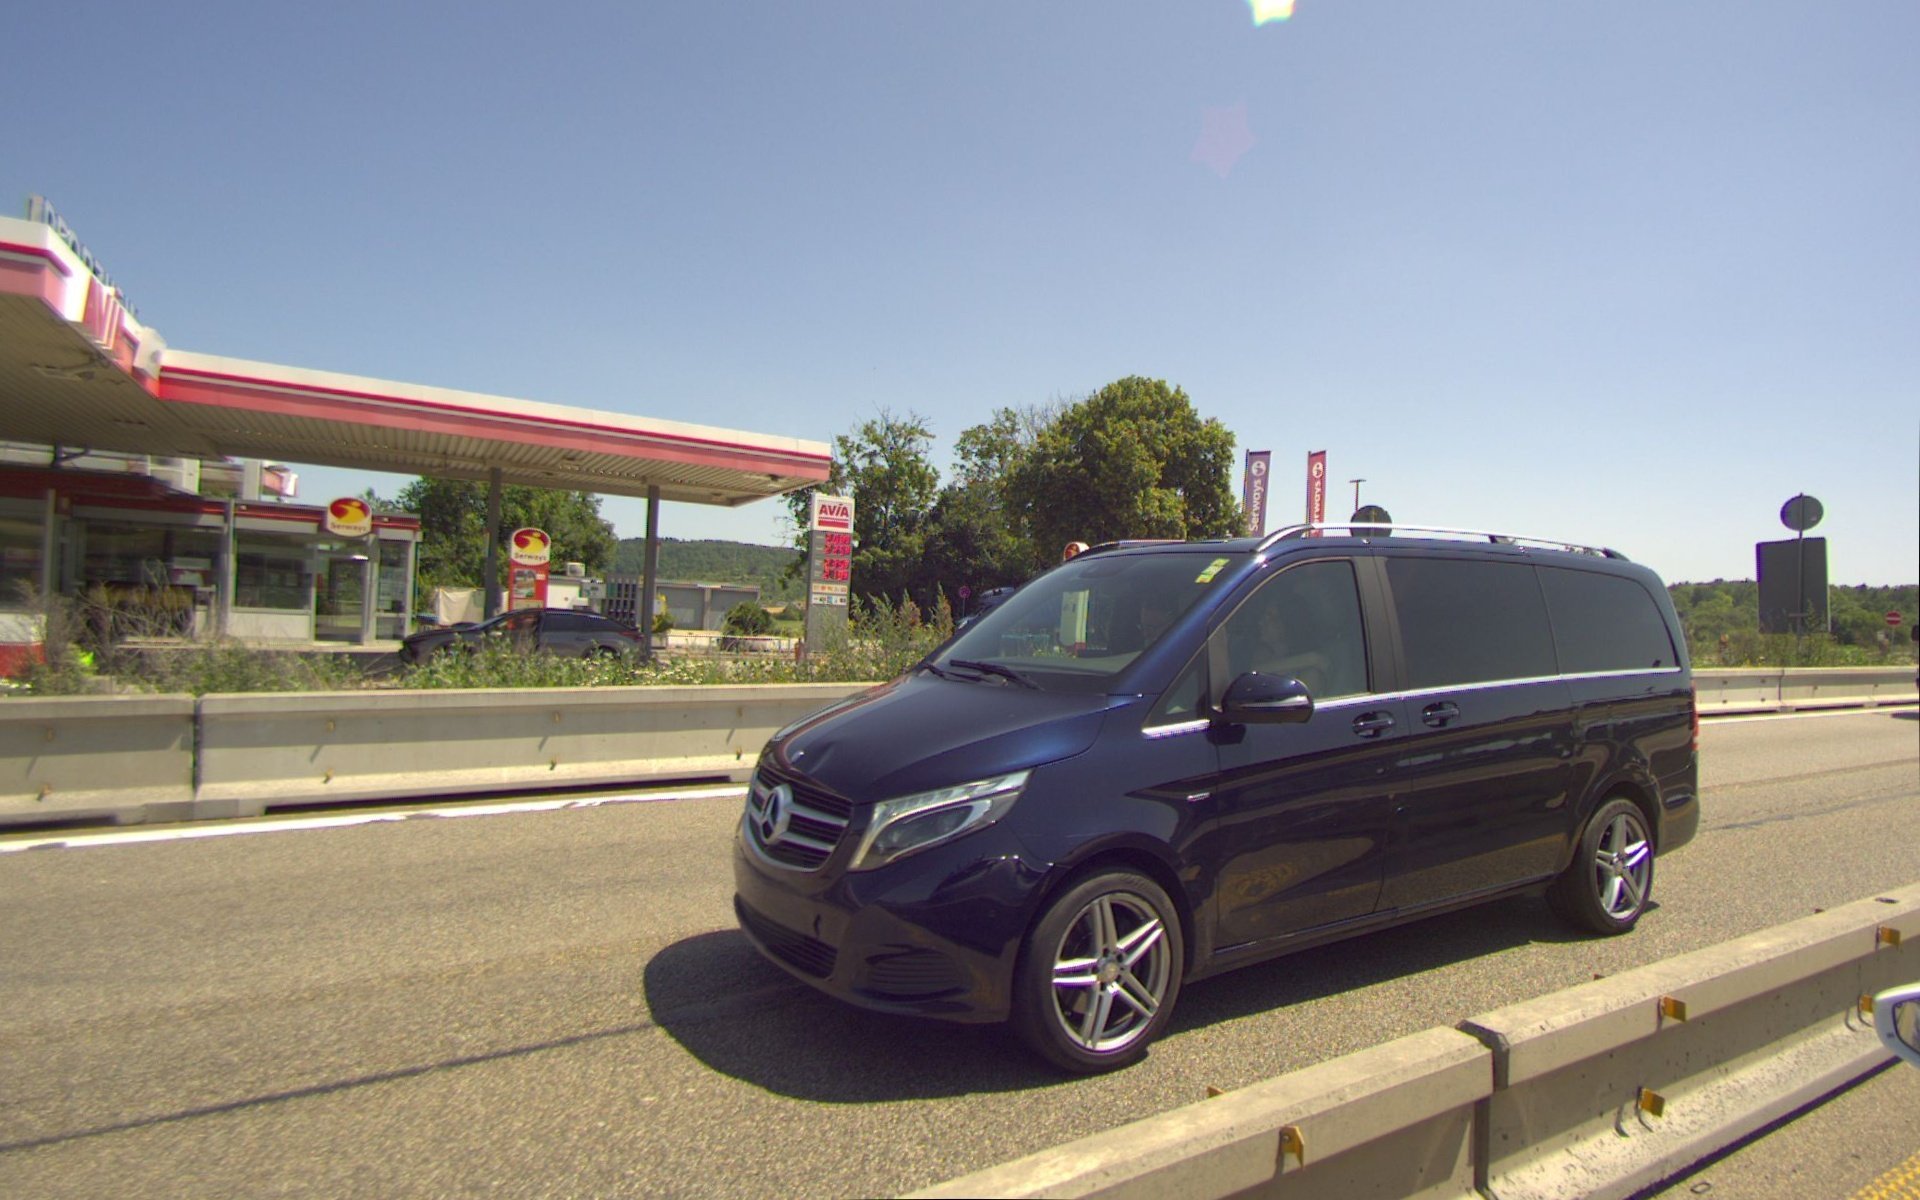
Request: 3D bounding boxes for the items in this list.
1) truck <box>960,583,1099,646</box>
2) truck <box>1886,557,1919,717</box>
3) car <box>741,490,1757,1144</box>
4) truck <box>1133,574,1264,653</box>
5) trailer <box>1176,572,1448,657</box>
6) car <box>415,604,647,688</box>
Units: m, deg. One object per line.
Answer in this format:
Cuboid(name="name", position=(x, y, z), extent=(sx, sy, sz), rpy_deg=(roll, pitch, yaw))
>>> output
Cuboid(name="truck", position=(3.667, 0.793, 54.110), extent=(6.991, 3.104, 2.824), rpy_deg=(2, -1, -8))
Cuboid(name="truck", position=(20.925, 0.751, 19.247), extent=(8.034, 2.861, 2.468), rpy_deg=(2, -1, -30))
Cuboid(name="car", position=(1.661, 0.632, 4.929), extent=(5.023, 1.829, 1.897), rpy_deg=(1, 0, -31))
Cuboid(name="truck", position=(12.936, 0.740, 54.827), extent=(6.224, 4.038, 3.159), rpy_deg=(1, -1, -3))
Cuboid(name="trailer", position=(19.198, 0.813, 55.219), extent=(13.890, 4.166, 3.159), rpy_deg=(2, -1, -3))
Cuboid(name="car", position=(-8.875, 0.938, 20.853), extent=(4.264, 1.430, 1.743), rpy_deg=(2, 4, -29))
